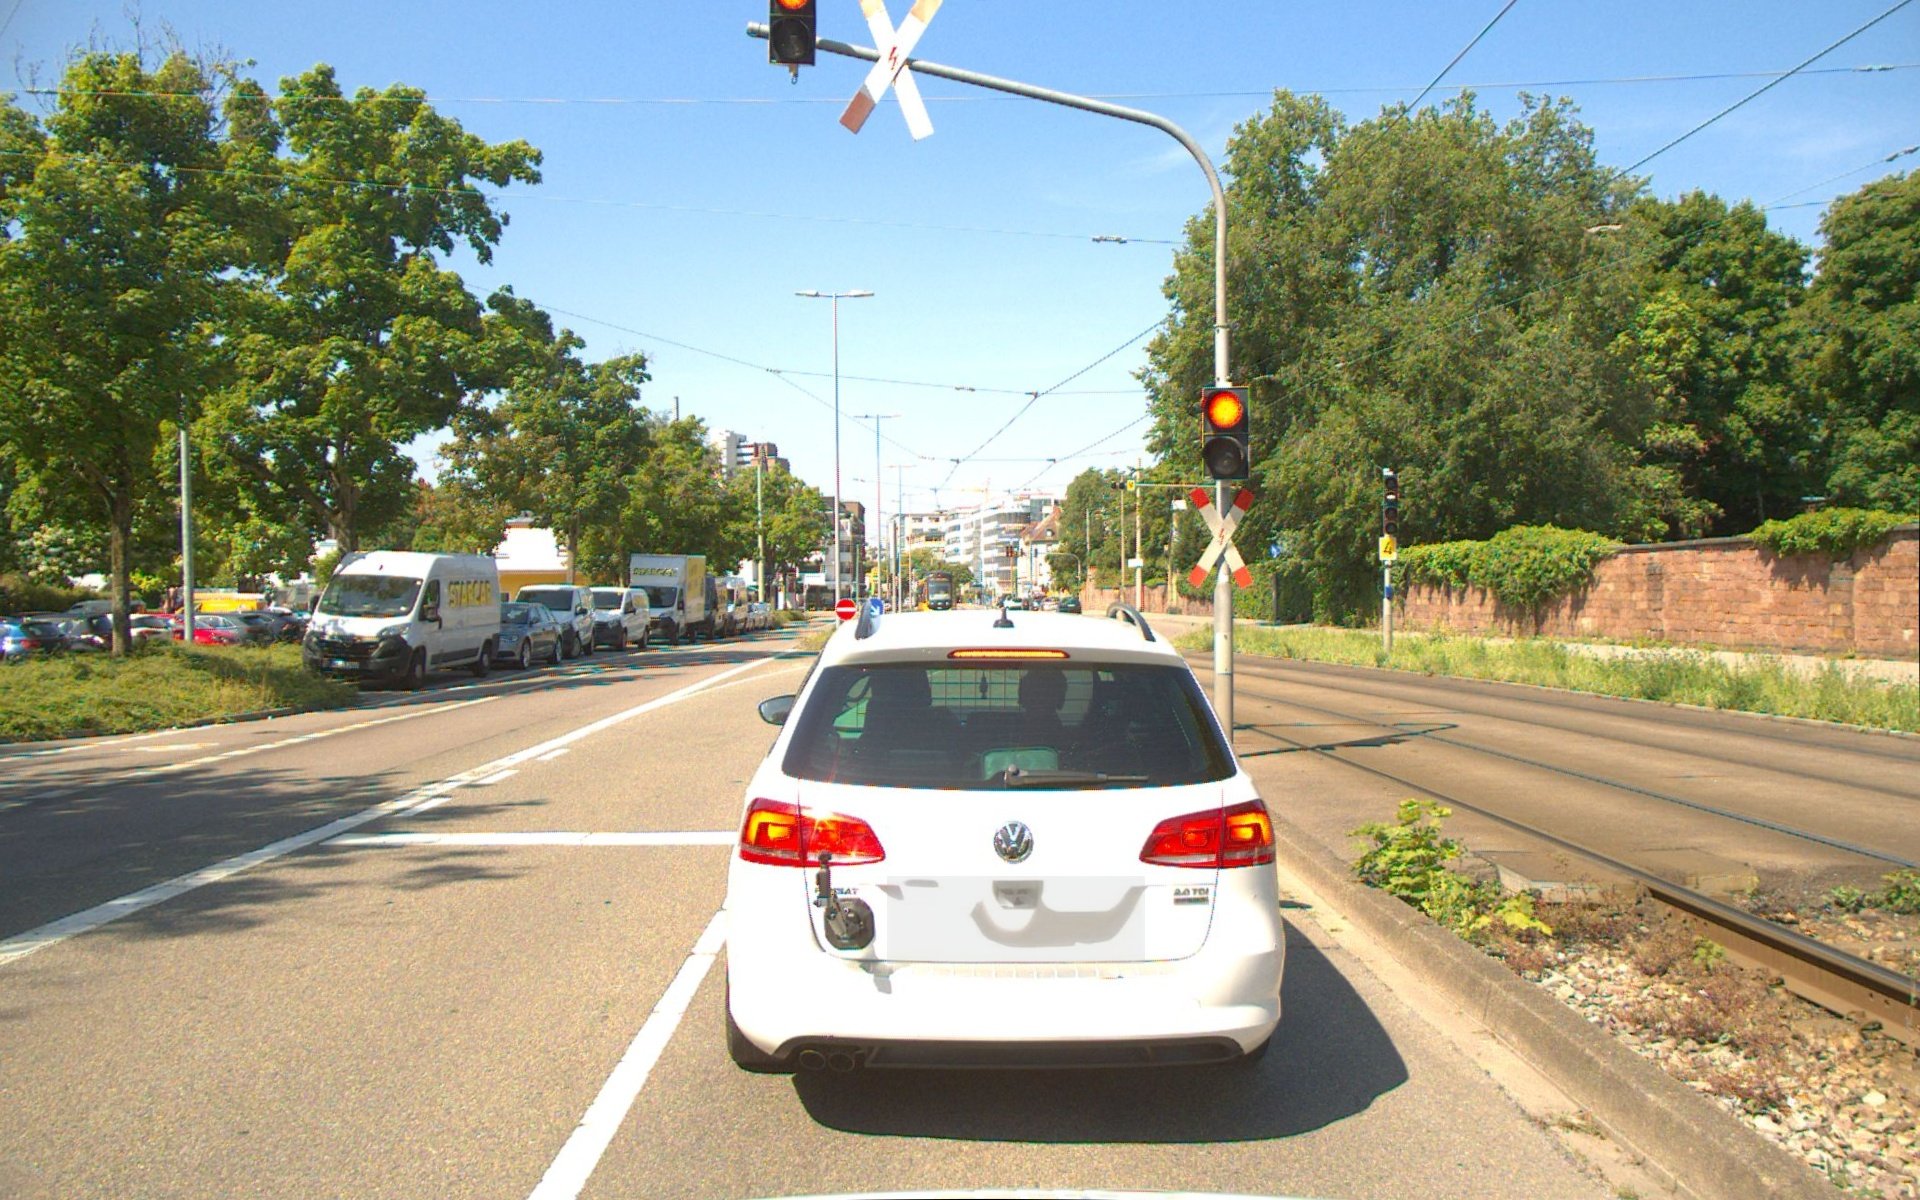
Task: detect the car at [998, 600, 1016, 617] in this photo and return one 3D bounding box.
[{"bbox_3d":[5.499,0.970,193.845,1.826,1.900,5.060,1,0,-2],"label":"car"}]

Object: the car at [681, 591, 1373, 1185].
[{"bbox_3d":[0.145,0.716,6.190,1.726,1.455,3.999,-1,0,-1],"label":"car"}]

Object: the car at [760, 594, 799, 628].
[{"bbox_3d":[-10.699,0.616,98.441,1.826,1.900,5.412,1,0,-1],"label":"car"}]

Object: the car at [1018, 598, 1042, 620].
[{"bbox_3d":[6.504,0.824,153.694,1.826,1.900,5.060,1,0,-2],"label":"car"}]

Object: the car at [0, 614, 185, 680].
[{"bbox_3d":[-21.730,1.165,41.259,3.909,1.440,1.728,-2,0,-5],"label":"car"}]

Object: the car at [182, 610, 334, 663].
[{"bbox_3d":[-21.706,1.126,51.237,3.909,1.440,1.728,-2,0,-5],"label":"car"}]

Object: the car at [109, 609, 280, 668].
[{"bbox_3d":[-21.286,1.055,46.128,3.909,1.440,1.728,-2,0,-5],"label":"car"}]

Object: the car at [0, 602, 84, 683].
[{"bbox_3d":[-21.078,0.960,35.172,3.909,1.638,1.728,-2,0,-5],"label":"car"}]

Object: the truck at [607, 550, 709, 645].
[{"bbox_3d":[-10.875,-0.114,60.166,2.371,3.205,6.996,1,0,0],"label":"truck"}]

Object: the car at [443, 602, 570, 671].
[{"bbox_3d":[-10.466,0.801,38.505,1.826,1.440,4.278,1,0,-1],"label":"car"}]

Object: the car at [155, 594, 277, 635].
[{"bbox_3d":[-34.372,0.664,76.524,4.698,1.819,2.062,1,0,-5],"label":"car"}]

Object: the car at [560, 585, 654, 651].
[{"bbox_3d":[-10.963,0.525,51.740,1.826,1.900,5.412,1,0,-1],"label":"car"}]

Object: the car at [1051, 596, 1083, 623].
[{"bbox_3d":[7.937,0.680,123.108,1.826,1.900,5.060,1,0,-2],"label":"car"}]

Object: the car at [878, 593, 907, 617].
[{"bbox_3d":[-4.552,0.331,112.180,1.670,1.499,4.589,-1,0,0],"label":"car"}]

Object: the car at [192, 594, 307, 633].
[{"bbox_3d":[-34.892,0.675,81.318,4.698,1.819,2.062,1,0,-5],"label":"car"}]

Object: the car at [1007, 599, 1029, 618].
[{"bbox_3d":[5.960,0.876,170.445,1.826,1.900,5.060,1,0,-2],"label":"car"}]

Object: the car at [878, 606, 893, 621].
[{"bbox_3d":[-9.748,1.707,215.859,1.726,1.929,4.913,1,0,-1],"label":"car"}]

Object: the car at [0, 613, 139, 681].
[{"bbox_3d":[-21.615,1.112,38.651,3.909,1.440,1.728,-2,0,-5],"label":"car"}]

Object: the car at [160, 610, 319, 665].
[{"bbox_3d":[-21.273,1.099,48.946,3.909,1.440,1.728,-2,0,-5],"label":"car"}]

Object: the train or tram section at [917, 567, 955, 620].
[{"bbox_3d":[-1.882,-0.502,129.560,2.812,3.923,12.389,-1,0,-1],"label":"train or tram section"}]

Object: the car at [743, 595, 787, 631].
[{"bbox_3d":[-10.754,0.687,91.524,1.826,1.900,5.412,1,0,-1],"label":"car"}]

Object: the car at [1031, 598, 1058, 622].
[{"bbox_3d":[6.985,0.829,137.790,1.826,1.900,5.060,1,0,-2],"label":"car"}]

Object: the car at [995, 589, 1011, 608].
[{"bbox_3d":[6.428,-0.220,247.066,2.015,2.807,5.630,1,0,-2],"label":"car"}]

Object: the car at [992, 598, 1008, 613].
[{"bbox_3d":[5.370,0.710,222.568,1.826,1.900,5.060,1,0,-2],"label":"car"}]

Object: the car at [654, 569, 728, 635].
[{"bbox_3d":[-11.005,0.061,68.163,2.079,2.560,5.733,1,0,0],"label":"car"}]

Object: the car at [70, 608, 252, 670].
[{"bbox_3d":[-21.107,1.022,43.800,3.909,1.440,1.728,-2,0,-5],"label":"car"}]

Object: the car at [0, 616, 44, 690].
[{"bbox_3d":[-20.731,1.119,32.941,3.909,1.440,1.728,-2,0,-5],"label":"car"}]

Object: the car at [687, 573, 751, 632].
[{"bbox_3d":[-10.955,0.096,75.599,2.079,2.560,5.733,1,0,0],"label":"car"}]

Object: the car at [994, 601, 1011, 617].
[{"bbox_3d":[5.339,1.072,208.084,1.826,1.900,5.060,1,0,-2],"label":"car"}]

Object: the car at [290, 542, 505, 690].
[{"bbox_3d":[-10.744,0.273,32.145,2.079,2.560,5.817,1,0,1],"label":"car"}]

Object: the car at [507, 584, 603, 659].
[{"bbox_3d":[-10.975,0.529,45.156,1.827,1.900,5.068,1,0,-6],"label":"car"}]

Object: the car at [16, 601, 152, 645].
[{"bbox_3d":[-37.777,0.980,71.398,4.698,1.819,2.062,1,0,-5],"label":"car"}]
